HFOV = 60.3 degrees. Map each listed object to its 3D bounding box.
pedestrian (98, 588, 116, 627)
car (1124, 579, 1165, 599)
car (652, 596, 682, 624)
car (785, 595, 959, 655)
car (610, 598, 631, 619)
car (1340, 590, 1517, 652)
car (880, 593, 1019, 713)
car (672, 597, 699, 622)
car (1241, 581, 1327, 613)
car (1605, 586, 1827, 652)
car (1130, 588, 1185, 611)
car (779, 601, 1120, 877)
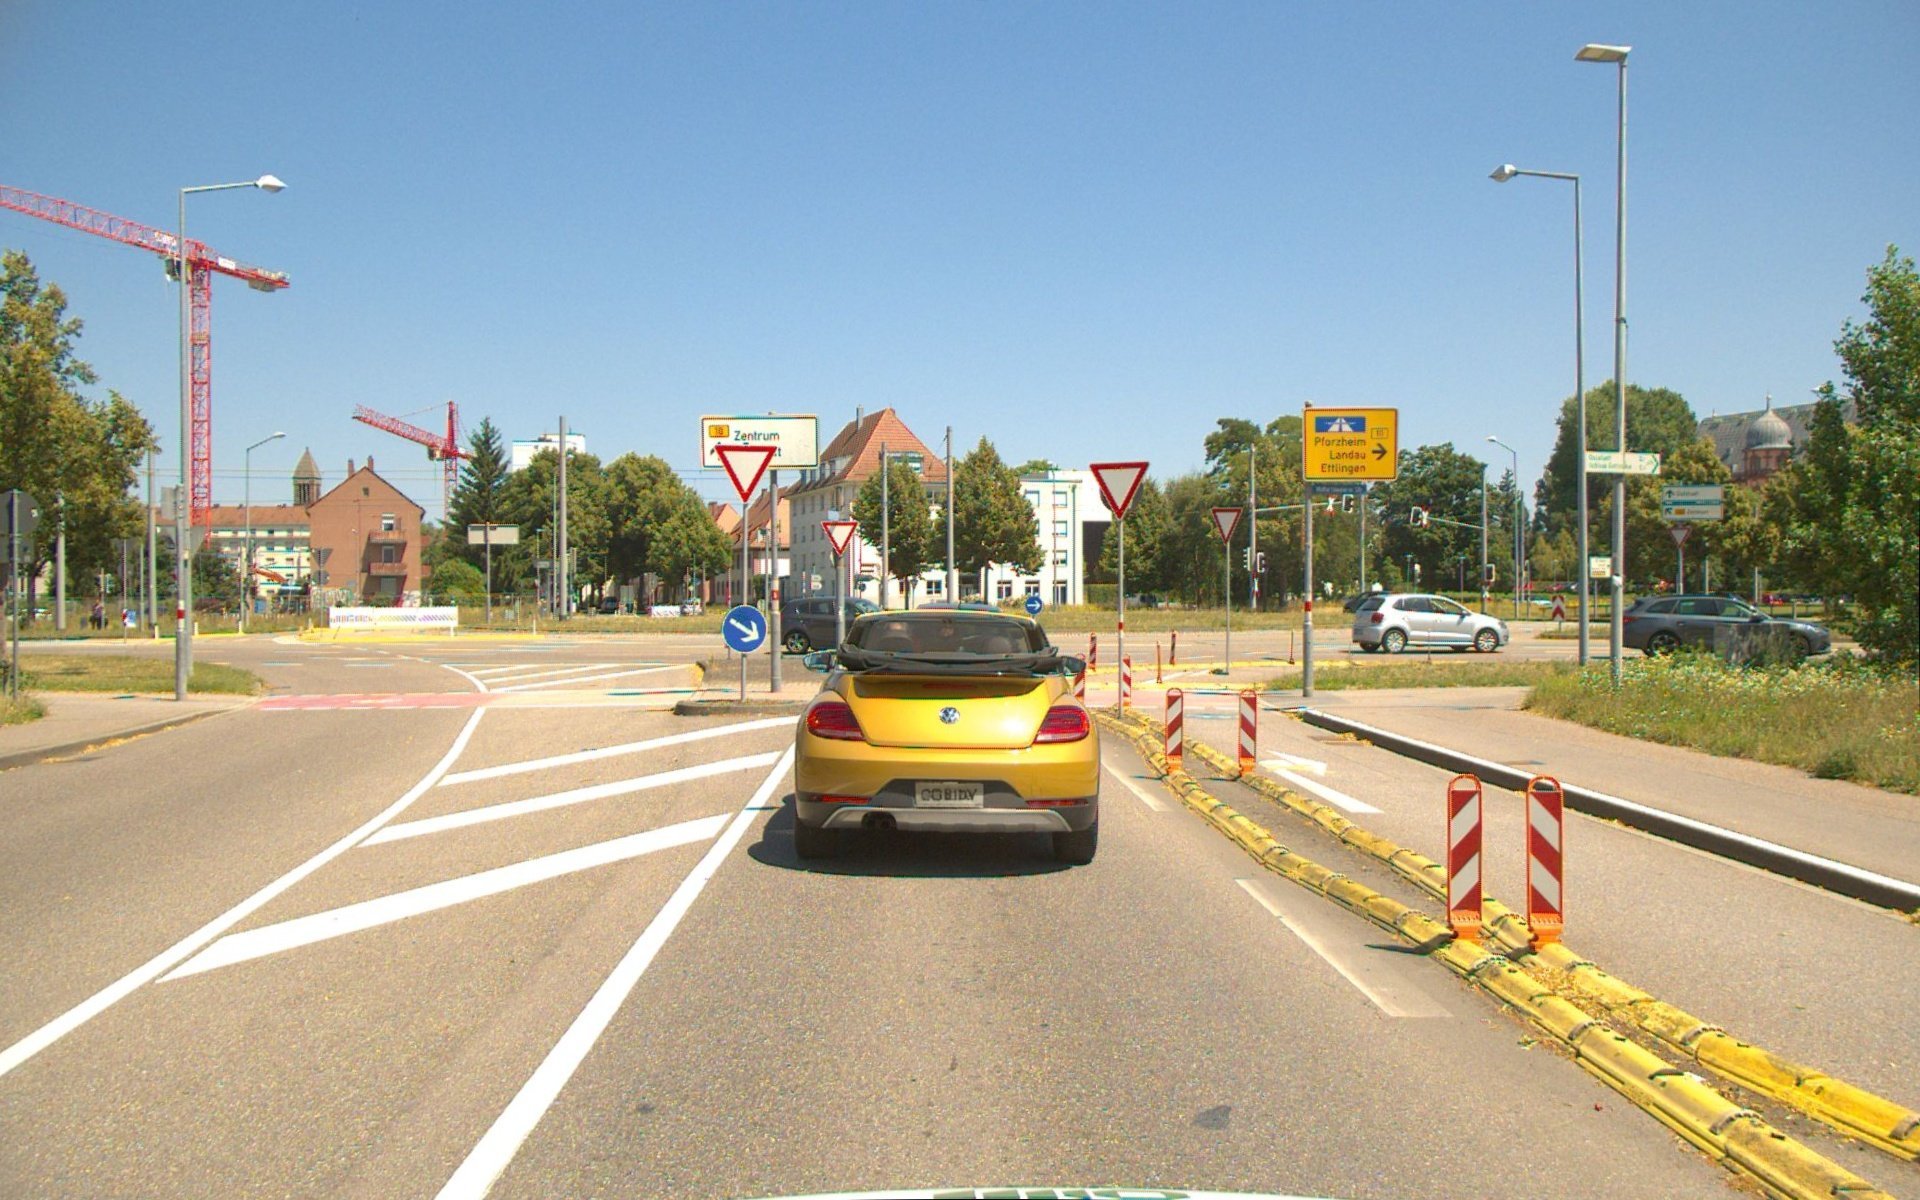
[{"bbox_3d":[-44.590,0.381,86.414,0.589,2.049,0.594,1,-1,-1],"label":"pedestrian"},{"bbox_3d":[18.933,-1.130,169.604,3.902,2.049,2.001,1,-1,14],"label":"car"},{"bbox_3d":[-22.300,0.731,125.696,1.959,2.049,3.986,1,0,-13],"label":"car"},{"bbox_3d":[-2.189,0.611,41.278,3.980,1.427,1.755,-1,1,14],"label":"car"},{"bbox_3d":[-34.014,0.802,165.777,1.959,2.049,3.986,1,0,-13],"label":"car"},{"bbox_3d":[11.731,0.501,41.501,3.916,1.447,1.777,-1,0,-11],"label":"car"},{"bbox_3d":[-0.074,0.664,22.988,1.759,1.465,4.001,0,1,2],"label":"car"},{"bbox_3d":[-23.631,0.820,142.310,1.959,2.049,3.986,1,0,-13],"label":"car"},{"bbox_3d":[15.814,-0.138,80.963,1.974,1.490,3.956,1,-1,-32],"label":"car"},{"bbox_3d":[17.080,0.424,37.615,4.347,1.443,2.001,-1,0,17],"label":"car"},{"bbox_3d":[15.745,-0.035,131.968,3.918,1.713,1.993,1,-1,-13],"label":"car"},{"bbox_3d":[-0.079,0.738,10.576,1.788,1.427,3.661,1,0,-1],"label":"car"}]
